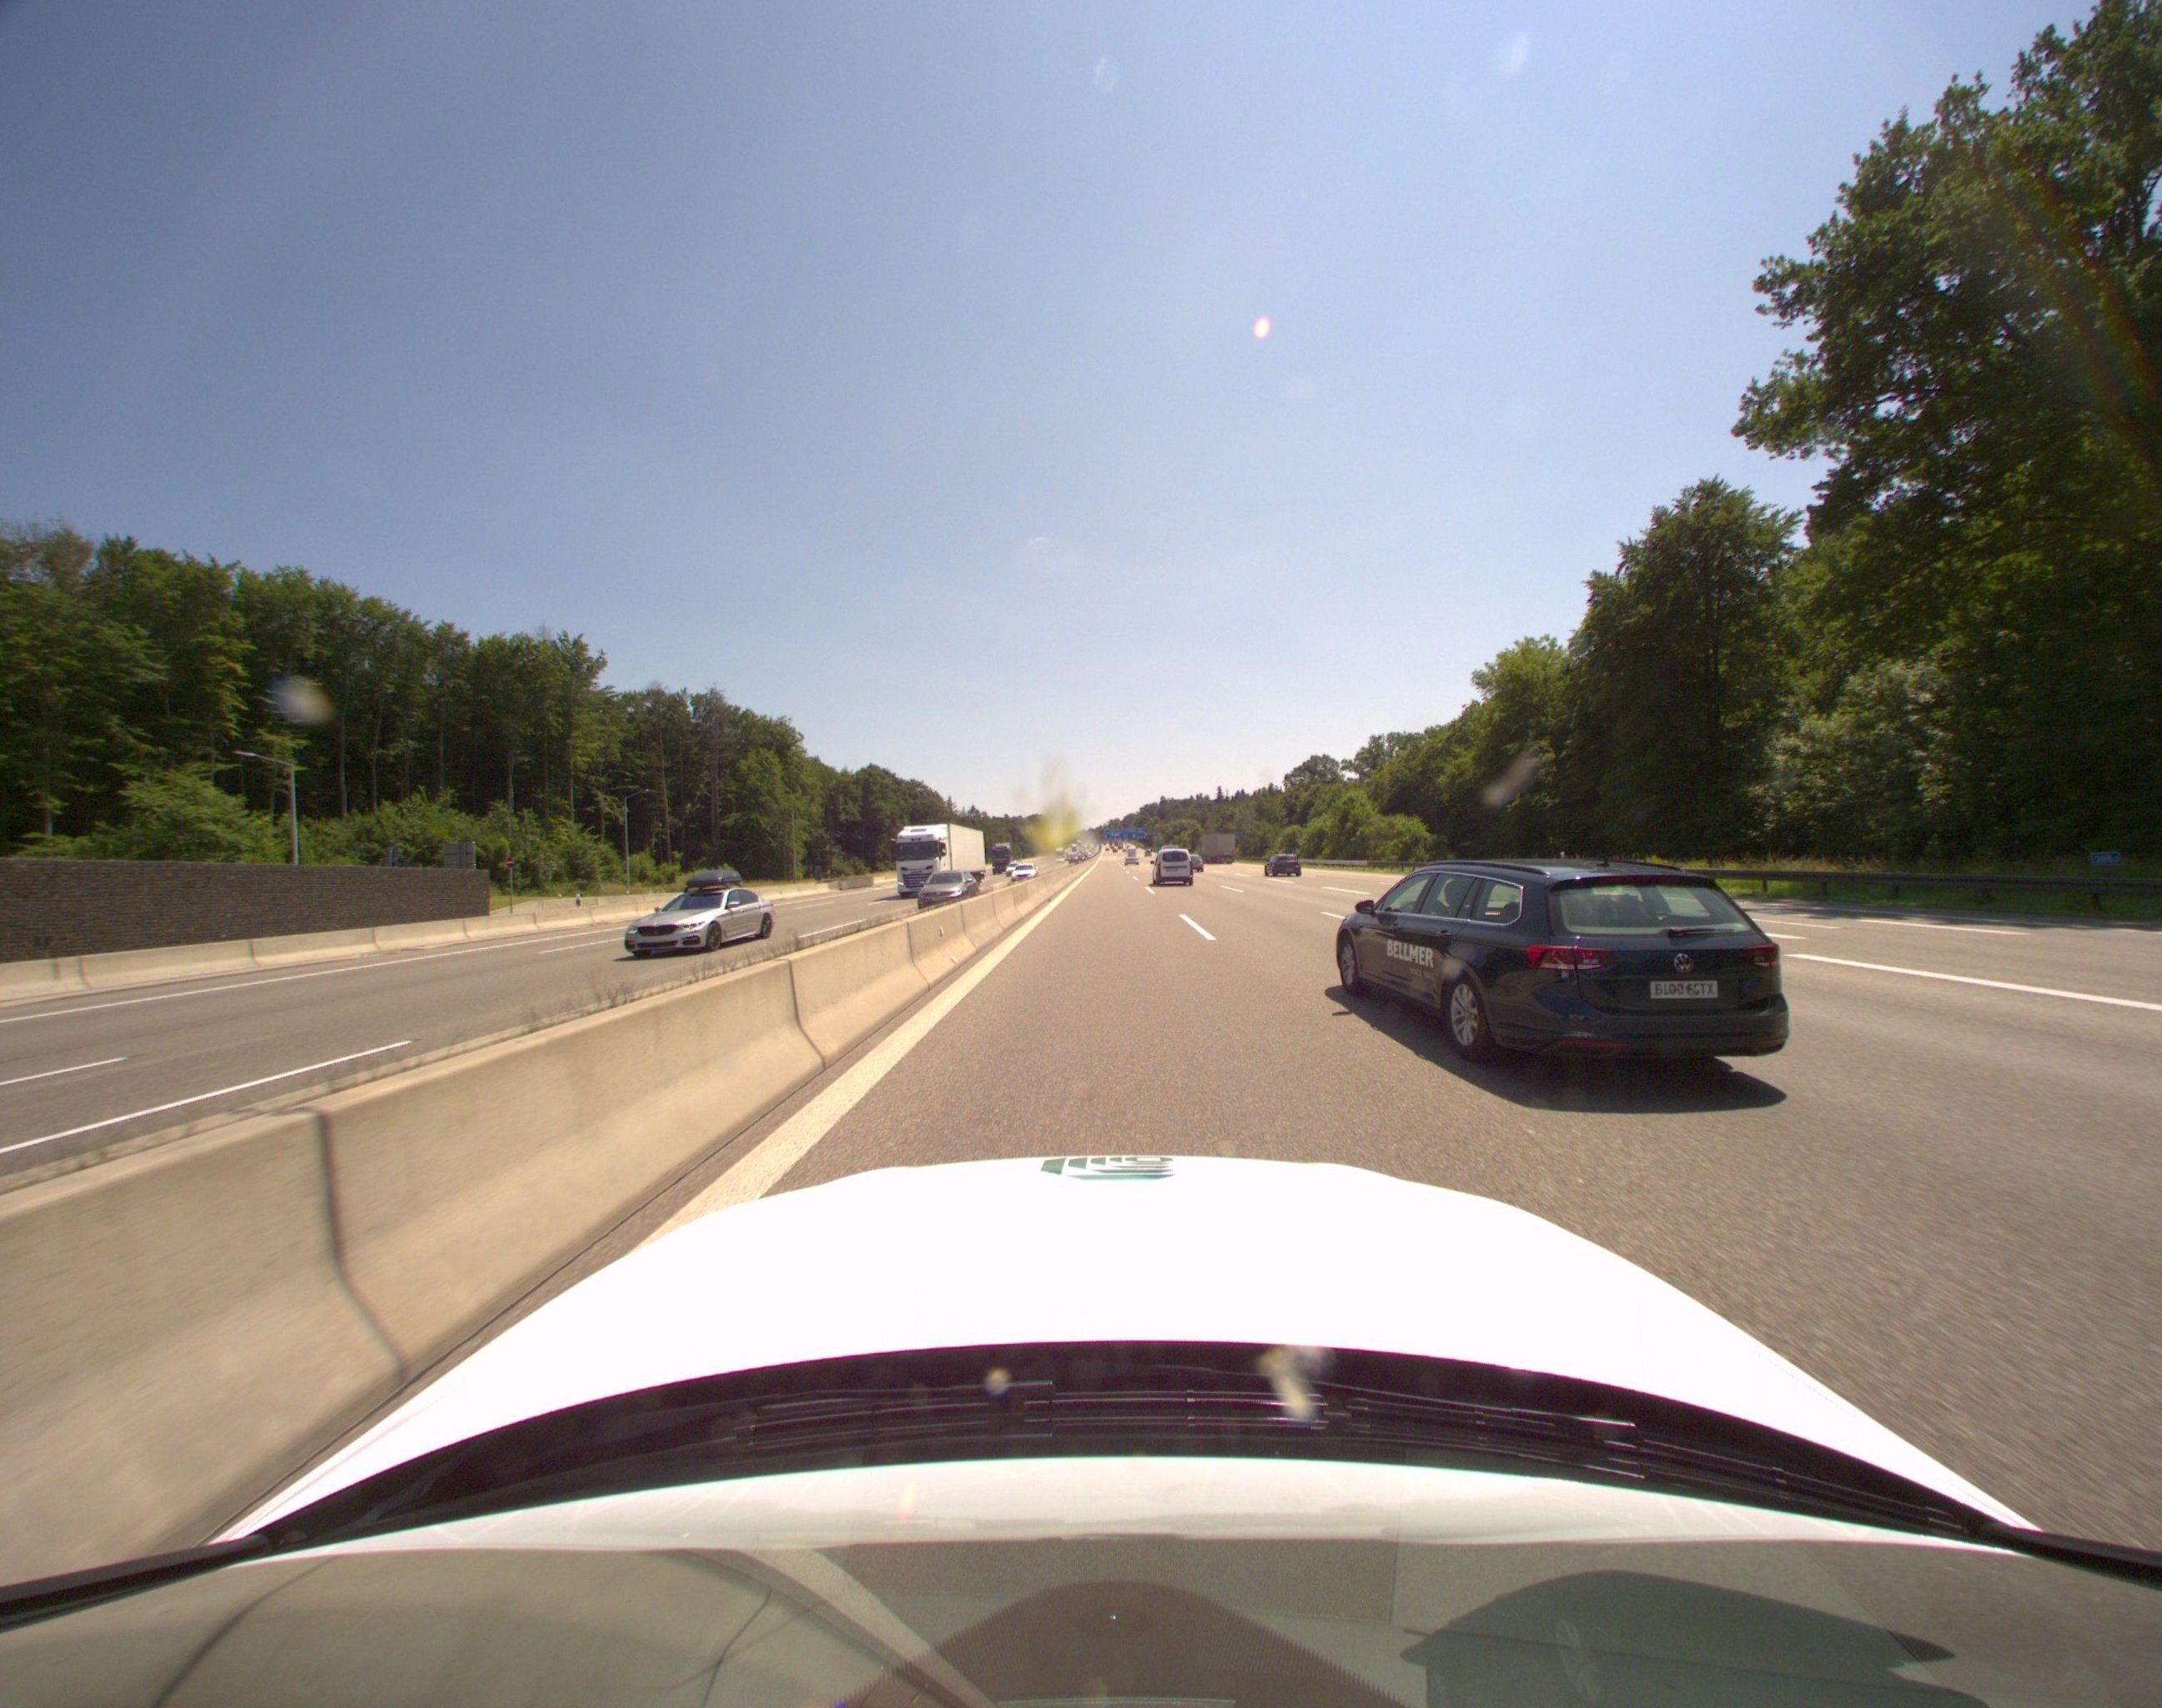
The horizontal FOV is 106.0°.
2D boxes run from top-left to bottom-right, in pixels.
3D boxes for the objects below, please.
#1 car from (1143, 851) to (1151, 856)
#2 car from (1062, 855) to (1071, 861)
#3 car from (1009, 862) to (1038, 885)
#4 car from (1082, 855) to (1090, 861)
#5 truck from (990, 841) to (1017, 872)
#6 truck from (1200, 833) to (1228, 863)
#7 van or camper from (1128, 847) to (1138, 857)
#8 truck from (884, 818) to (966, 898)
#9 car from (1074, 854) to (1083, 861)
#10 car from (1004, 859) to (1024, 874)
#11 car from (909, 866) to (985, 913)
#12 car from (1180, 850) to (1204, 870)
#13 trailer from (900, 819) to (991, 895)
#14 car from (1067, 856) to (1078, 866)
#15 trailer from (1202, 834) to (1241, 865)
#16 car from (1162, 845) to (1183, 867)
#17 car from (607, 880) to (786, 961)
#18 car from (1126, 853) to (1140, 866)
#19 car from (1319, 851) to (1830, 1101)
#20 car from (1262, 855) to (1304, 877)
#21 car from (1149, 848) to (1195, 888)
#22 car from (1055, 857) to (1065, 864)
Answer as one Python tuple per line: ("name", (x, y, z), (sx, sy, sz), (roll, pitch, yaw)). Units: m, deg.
("car", (18.261, -0.038, 224.773), (1.829, 1.338, 3.644), (-3, 0, 2))
("car", (-3.759, 1.140, 209.380), (1.906, 1.464, 4.589), (-3, -1, 1))
("car", (-4.142, 1.375, 59.106), (1.742, 1.457, 4.156), (-3, 0, 0))
("car", (1.469, 1.100, 235.455), (1.906, 1.464, 4.365), (-3, -1, 1))
("truck", (-10.113, 0.305, 106.856), (2.568, 3.841, 7.019), (-3, 0, 2))
("truck", (19.275, -0.880, 118.307), (3.242, 4.106, 5.990), (-1, 1, 2))
("van or camper", (15.288, -0.596, 241.358), (2.635, 2.538, 6.505), (-3, 0, 2))
("truck", (-8.841, 0.246, 47.033), (3.036, 4.136, 6.951), (-3, 0, 1))
("car", (-0.585, 0.893, 197.364), (1.906, 1.464, 4.589), (-3, -1, 1))
("car", (-7.226, 1.336, 87.904), (1.717, 1.506, 4.460), (-3, 0, 0))
("car", (-5.016, 1.300, 31.264), (1.987, 1.487, 5.135), (-3, 0, 0))
("car", (9.229, 0.506, 67.685), (1.498, 1.500, 3.650), (-3, -1, 1))
("trailer", (-8.608, 0.166, 54.071), (3.012, 4.225, 14.472), (-3, 0, 2))
("car", (-1.640, 1.364, 162.662), (1.891, 1.953, 5.658), (-3, 0, 2))
("trailer", (19.123, -0.718, 111.771), (3.276, 3.930, 13.894), (-1, 1, 1))
("car", (11.393, 0.171, 101.975), (2.135, 2.652, 5.712), (-2, 1, 2))
("car", (-9.409, 1.550, 20.509), (1.987, 1.487, 5.018), (-4, 0, 0))
("car", (7.120, 0.799, 112.228), (1.836, 1.629, 4.556), (-3, 0, 2))
("car", (3.621, 0.719, 7.275), (1.723, 1.447, 4.964), (-1, 0, 2))
("car", (12.897, 0.750, 52.230), (1.665, 1.273, 4.289), (-1, 0, 0))
("car", (4.528, 0.675, 41.181), (1.853, 1.826, 4.613), (-3, 0, 1))
("car", (-4.555, 1.416, 179.006), (1.754, 1.464, 4.841), (-3, 0, 2))
